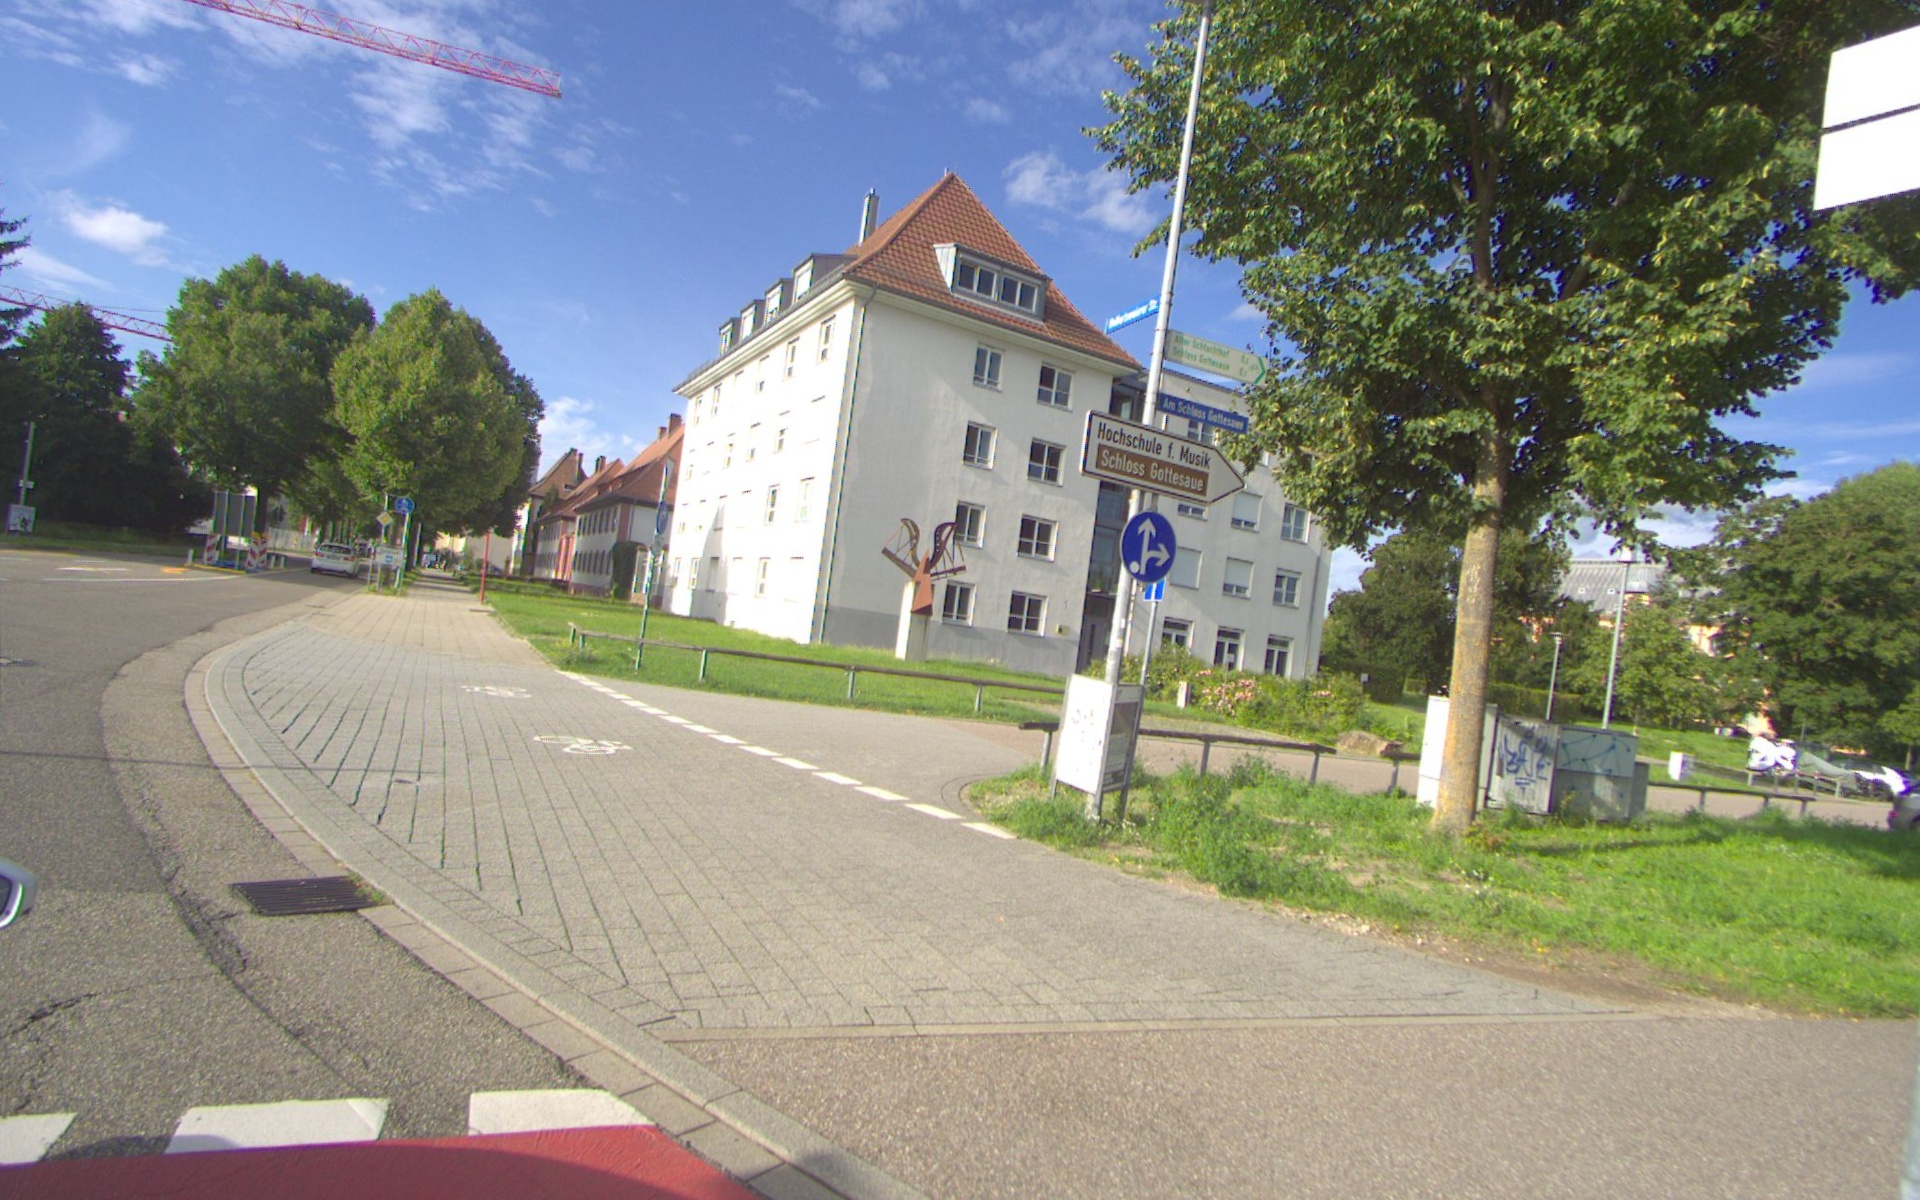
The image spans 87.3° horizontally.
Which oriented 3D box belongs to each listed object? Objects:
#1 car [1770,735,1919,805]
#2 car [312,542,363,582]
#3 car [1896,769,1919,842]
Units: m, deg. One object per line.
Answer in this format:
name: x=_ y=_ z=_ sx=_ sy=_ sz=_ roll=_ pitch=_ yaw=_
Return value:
car: x=36.723 y=7.001 z=41.455 sx=1.856 sy=2.035 sz=4.785 roll=10 pitch=-4 yaw=-24
car: x=-30.440 y=-1.832 z=49.267 sx=1.838 sy=1.590 sz=4.421 roll=10 pitch=-3 yaw=-31
car: x=20.986 y=4.326 z=18.945 sx=1.839 sy=1.397 sz=4.487 roll=8 pitch=-2 yaw=-27
